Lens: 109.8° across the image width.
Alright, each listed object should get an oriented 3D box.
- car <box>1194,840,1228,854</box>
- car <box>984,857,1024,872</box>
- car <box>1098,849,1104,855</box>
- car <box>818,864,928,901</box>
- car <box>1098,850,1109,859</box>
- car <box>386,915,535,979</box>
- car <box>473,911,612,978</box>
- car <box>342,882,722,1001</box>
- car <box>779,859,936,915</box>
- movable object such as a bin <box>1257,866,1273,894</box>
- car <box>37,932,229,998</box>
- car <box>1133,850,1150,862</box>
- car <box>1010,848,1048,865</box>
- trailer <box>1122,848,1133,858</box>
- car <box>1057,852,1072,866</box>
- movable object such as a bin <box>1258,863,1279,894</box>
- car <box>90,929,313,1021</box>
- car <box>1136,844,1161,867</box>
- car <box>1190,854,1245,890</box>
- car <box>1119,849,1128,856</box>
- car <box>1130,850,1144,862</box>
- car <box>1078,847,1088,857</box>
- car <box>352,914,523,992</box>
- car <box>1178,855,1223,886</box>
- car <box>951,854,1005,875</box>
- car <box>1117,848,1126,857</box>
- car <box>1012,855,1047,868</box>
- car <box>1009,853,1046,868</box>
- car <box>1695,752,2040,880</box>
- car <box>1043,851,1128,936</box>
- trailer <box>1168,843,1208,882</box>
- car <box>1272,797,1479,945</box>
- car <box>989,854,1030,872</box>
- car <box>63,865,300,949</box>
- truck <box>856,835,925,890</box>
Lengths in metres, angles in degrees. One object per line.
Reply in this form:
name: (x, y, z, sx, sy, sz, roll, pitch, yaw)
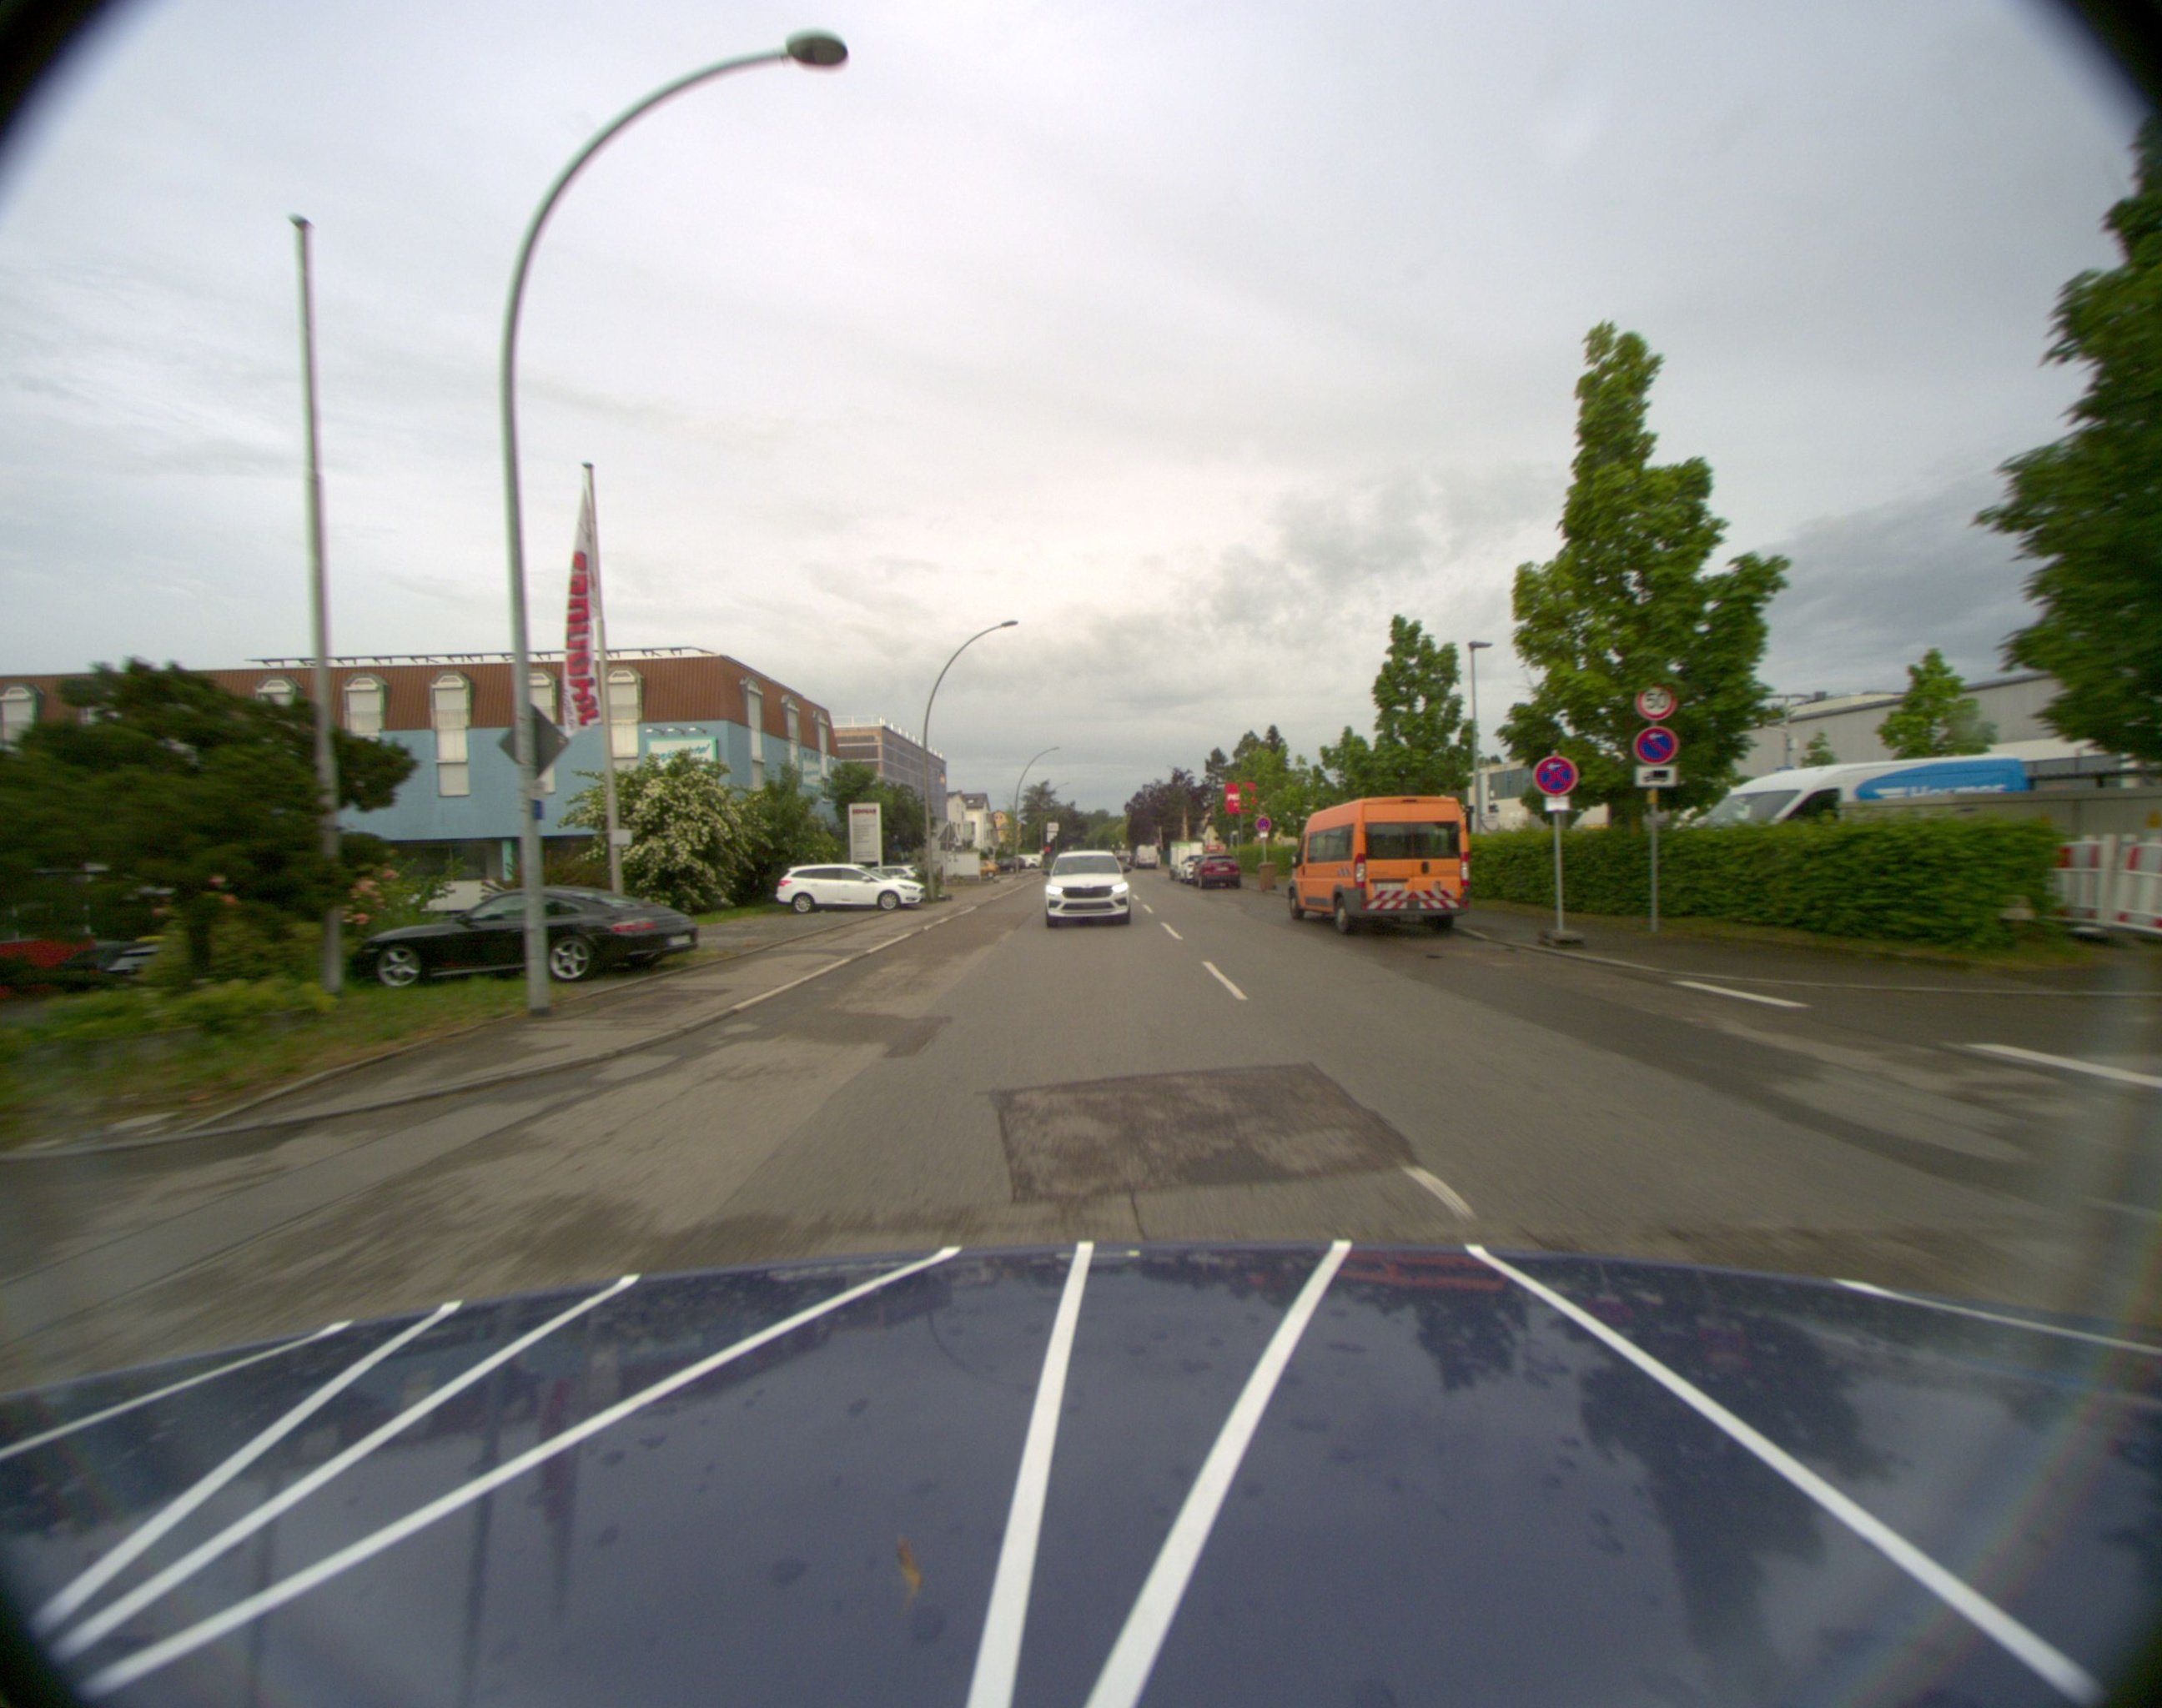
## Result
car: (20.372, -1.134, 119.449, 5.010, 1.846, 2.000, -3, 1, 3)
car: (-8.356, 1.146, 82.713, 3.975, 1.481, 1.833, -3, 1, 2)
car: (6.136, -0.529, 231.903, 1.898, 1.678, 4.230, -1, 1, 2)
car: (-9.398, 1.270, 34.645, 4.427, 1.385, 1.880, -3, 0, -1)
car: (4.100, 0.129, 136.900, 1.743, 1.458, 4.545, -3, 1, 0)
car: (-19.329, 2.845, 23.869, 1.668, 1.467, 3.527, -3, 1, 1)
car: (-17.149, 2.821, 24.439, 1.804, 1.576, 3.655, -3, 1, -1)
car: (-7.641, 1.189, 10.881, 3.996, 1.259, 1.951, -3, 1, 3)
car: (-7.000, 1.011, 24.114, 4.349, 1.467, 1.902, -3, 1, 0)
movable object such as a bin: (7.408, 1.037, 30.649, 0.492, 1.076, 0.621, -3, 1, 6)
car: (-30.358, 3.507, 24.509, 1.668, 1.495, 3.527, -3, 1, 1)
car: (7.543, 0.206, 95.281, 1.665, 1.440, 4.316, -1, 1, -1)
car: (-6.895, 0.328, 101.346, 4.743, 1.875, 2.000, -3, 1, 1)
trailer: (8.657, -0.261, 141.361, 1.934, 1.755, 4.548, -3, 1, 2)
car: (-2.019, 0.603, 95.591, 1.743, 1.458, 4.545, -3, 1, 0)
movable object such as a bin: (7.386, 0.955, 29.976, 0.674, 1.151, 0.621, -3, 1, 5)
car: (-21.636, 2.910, 18.908, 1.645, 1.643, 3.281, -3, 1, -1)
car: (7.330, 0.109, 83.046, 2.163, 2.413, 6.459, 1, 1, 1)
car: (6.363, 0.796, 35.922, 1.810, 1.564, 4.342, -1, 0, 0)
car: (8.997, -0.386, 162.000, 1.820, 1.419, 4.980, -1, 1, 2)
car: (7.670, 0.211, 104.346, 1.665, 1.575, 3.915, 0, 1, 0)
car: (0.453, -0.463, 168.643, 1.735, 1.817, 5.553, -4, 1, 2)
car: (-16.562, 2.491, 19.777, 1.622, 1.467, 3.281, -3, 1, -1)
car: (6.383, 0.854, 41.036, 1.777, 1.490, 4.137, -2, 0, 0)
car: (-8.179, 0.838, 60.303, 3.997, 1.422, 1.630, -2, 1, 0)
car: (8.938, -0.275, 167.447, 1.898, 1.881, 5.209, -1, 1, 2)
car: (-6.719, 0.949, 99.233, 4.331, 1.371, 1.850, -3, 1, 0)
car: (-6.784, 0.757, 96.083, 4.456, 1.615, 1.893, -3, 1, 0)
car: (14.676, -0.685, 14.412, 4.316, 2.002, 2.062, -3, 1, 1)
car: (0.056, 0.816, 17.926, 1.692, 1.651, 3.999, -3, 1, -1)
trailer: (6.593, 0.471, 47.247, 1.817, 2.300, 4.730, 0, 1, 0)
car: (5.904, 0.281, 16.283, 2.130, 2.523, 6.022, -2, 0, 1)
car: (-7.966, 1.000, 84.878, 4.237, 1.665, 1.980, -3, 1, 0)
car: (-34.300, 1.976, 29.134, 5.942, 2.694, 2.449, -3, 1, 0)
truck: (-14.165, 0.603, 56.707, 4.155, 3.653, 2.719, -5, 1, -1)
